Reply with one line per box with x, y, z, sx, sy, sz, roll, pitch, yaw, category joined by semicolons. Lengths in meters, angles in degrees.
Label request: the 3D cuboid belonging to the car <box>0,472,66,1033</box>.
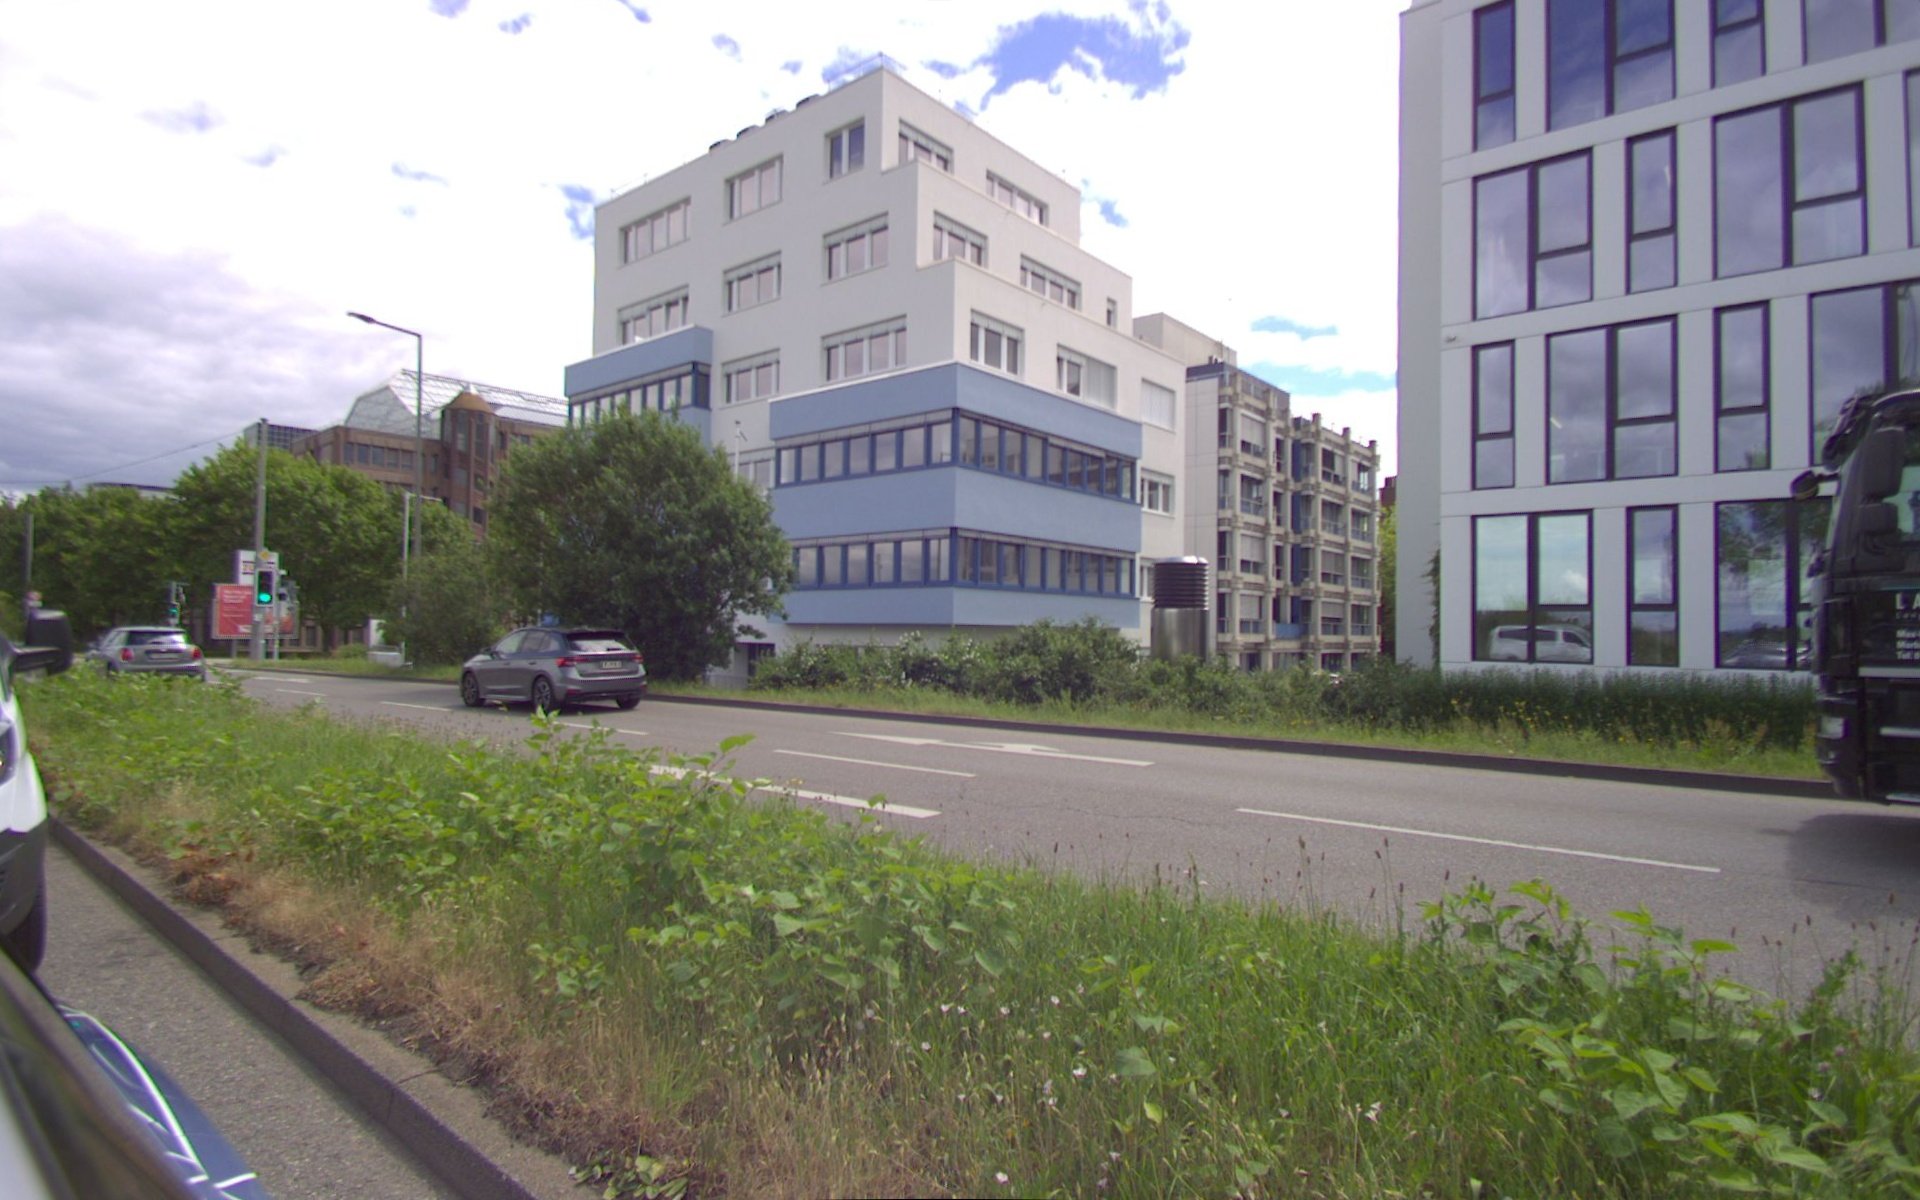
-5.779;0.579;4.611;5.052;1.965;1.942;-2;-1;41;car

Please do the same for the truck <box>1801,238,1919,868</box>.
9.651;-0.357;4.081;9.520;3.545;3.135;-2;-2;41;truck

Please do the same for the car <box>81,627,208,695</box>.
-18.946;1.361;23.465;3.633;1.441;1.671;-1;-2;41;car

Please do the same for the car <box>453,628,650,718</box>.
-7.116;1.192;17.498;3.775;1.393;1.538;-2;-2;39;car
